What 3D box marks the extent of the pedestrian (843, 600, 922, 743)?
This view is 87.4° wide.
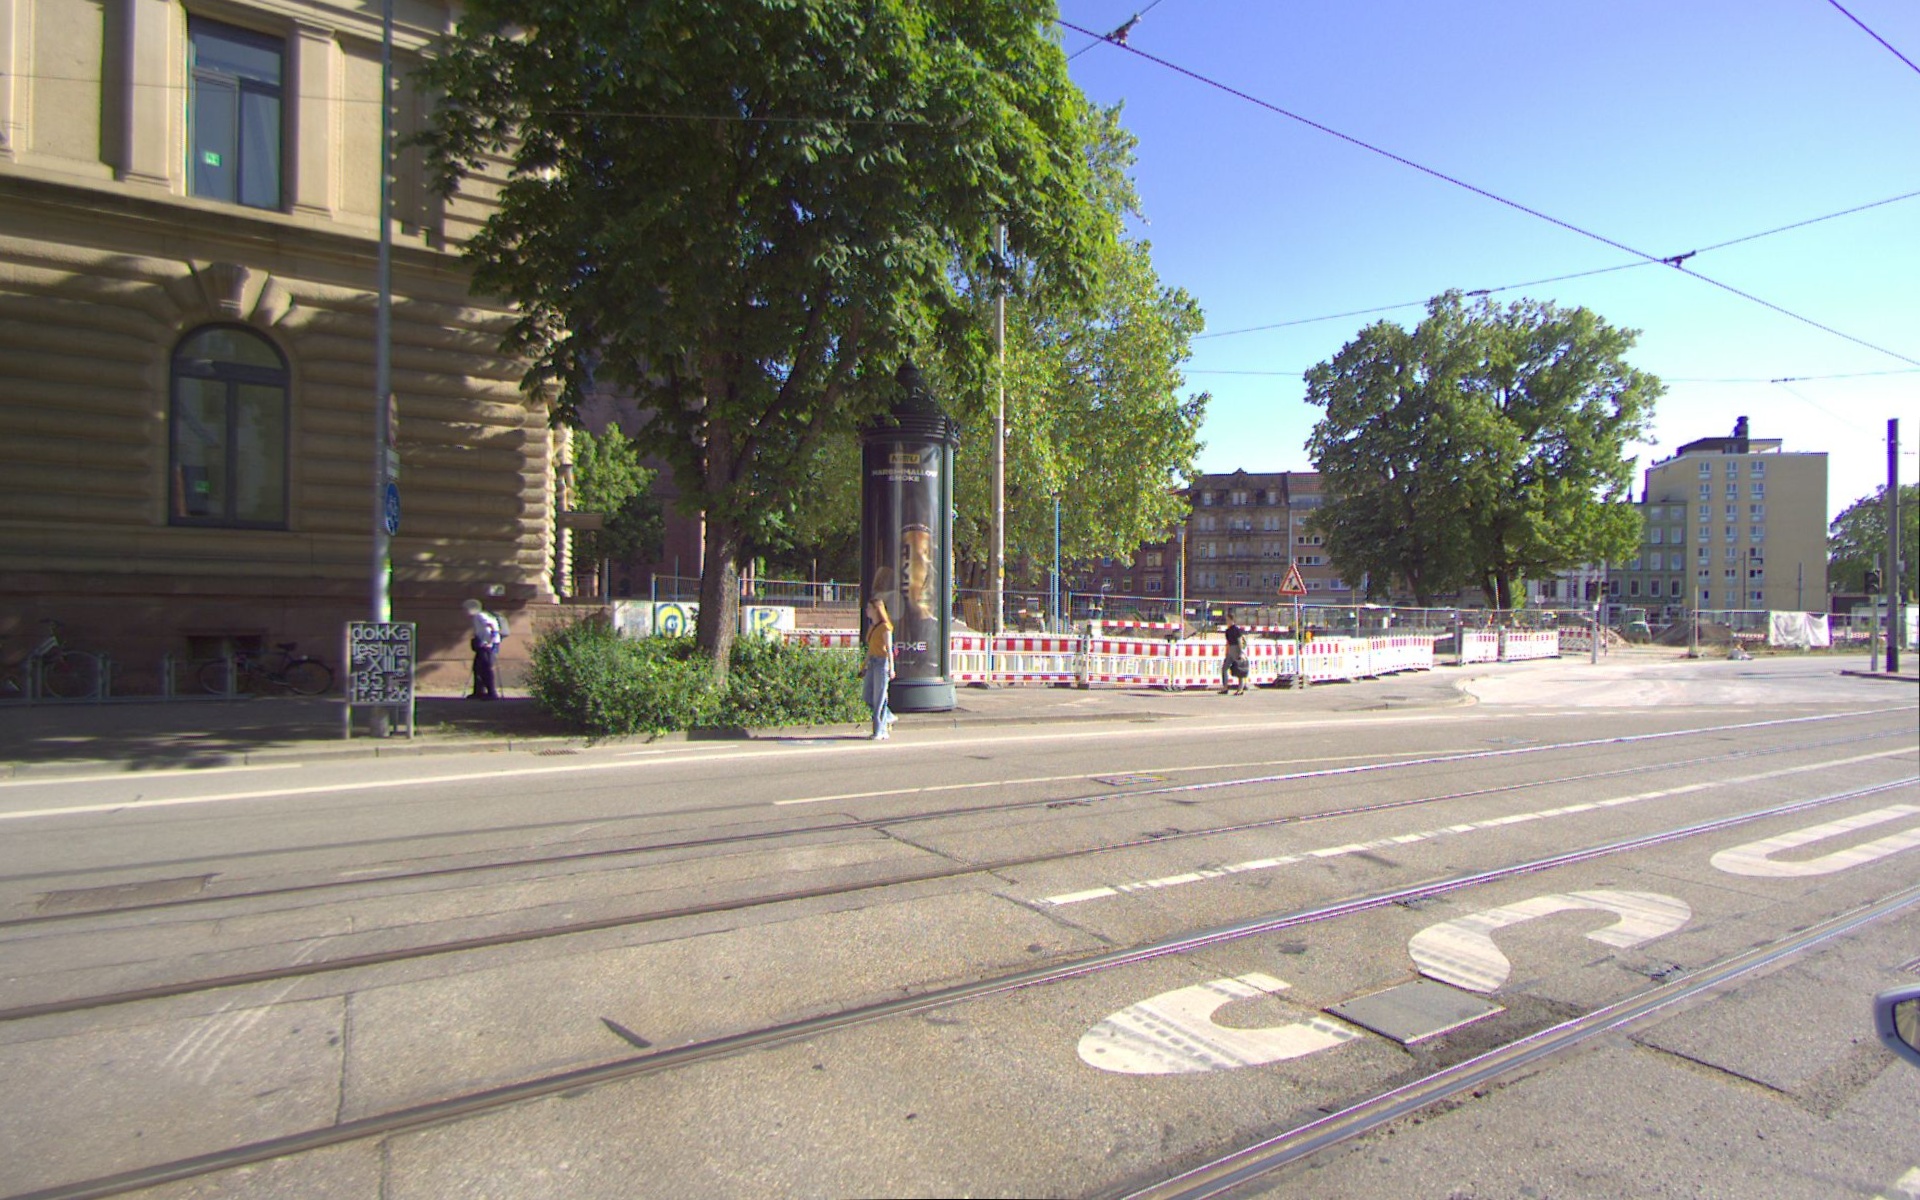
[{"bbox_3d":[-0.973,0.872,12.548,0.809,1.719,0.633,1,-2,-28],"label":"pedestrian"}]

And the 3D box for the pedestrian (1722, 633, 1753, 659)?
[{"bbox_3d":[32.999,1.932,42.637,0.648,1.060,0.893,1,-1,-31],"label":"pedestrian"}]

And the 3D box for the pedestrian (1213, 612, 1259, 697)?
[{"bbox_3d":[5.689,1.103,20.688,0.670,1.719,0.616,1,-1,-28],"label":"pedestrian"}]

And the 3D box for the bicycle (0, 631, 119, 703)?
[{"bbox_3d":[-12.409,0.890,13.502,1.601,0.929,0.478,2,-1,-31],"label":"bicycle"}]

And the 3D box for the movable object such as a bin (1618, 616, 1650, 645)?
[{"bbox_3d":[50.848,2.281,75.728,1.892,2.040,3.987,0,-1,35],"label":"movable object such as a bin"}]

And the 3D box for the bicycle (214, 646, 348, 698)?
[{"bbox_3d":[-10.099,1.058,15.000,1.601,0.734,0.478,2,-1,-31],"label":"bicycle"}]

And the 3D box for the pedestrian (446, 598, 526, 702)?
[{"bbox_3d":[-7.182,0.736,15.225,0.907,1.524,0.704,0,-1,32],"label":"pedestrian"}]
